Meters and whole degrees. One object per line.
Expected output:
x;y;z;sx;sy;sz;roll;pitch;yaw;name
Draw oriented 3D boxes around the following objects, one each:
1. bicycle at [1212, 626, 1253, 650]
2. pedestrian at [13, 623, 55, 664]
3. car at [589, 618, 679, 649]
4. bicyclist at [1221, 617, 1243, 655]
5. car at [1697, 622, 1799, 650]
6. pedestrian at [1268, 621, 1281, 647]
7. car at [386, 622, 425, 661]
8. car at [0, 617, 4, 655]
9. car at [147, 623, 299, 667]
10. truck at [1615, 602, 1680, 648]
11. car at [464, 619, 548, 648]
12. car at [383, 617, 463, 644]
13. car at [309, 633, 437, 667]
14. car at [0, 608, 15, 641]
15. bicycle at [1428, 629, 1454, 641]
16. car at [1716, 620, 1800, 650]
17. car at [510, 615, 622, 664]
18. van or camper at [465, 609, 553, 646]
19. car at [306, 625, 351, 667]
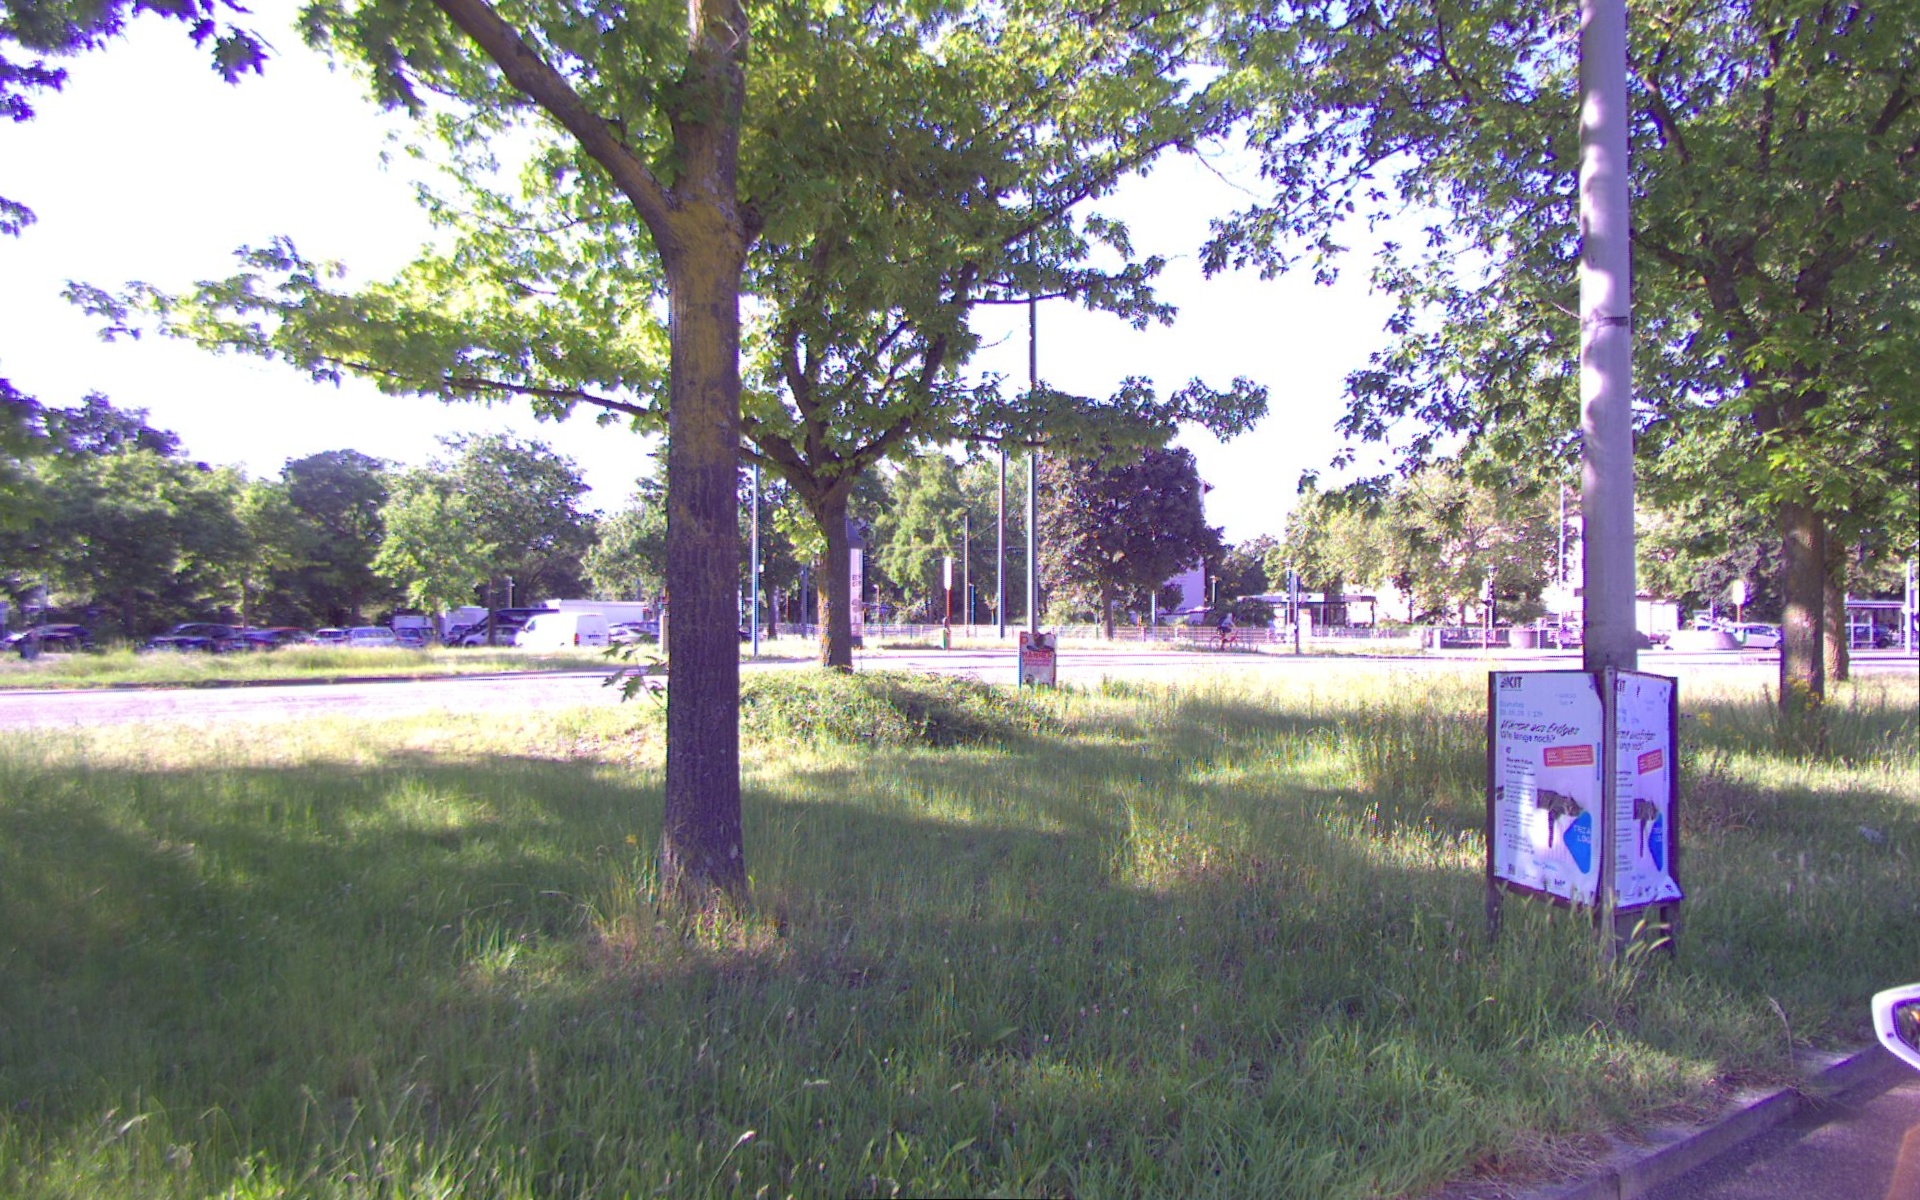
11.584;1.623;42.745;1.633;1.014;0.611;1;-1;-20;bicycle
-32.769;1.531;35.556;0.863;1.437;0.994;1;-1;-30;pedestrian
-15.009;1.512;46.171;3.934;1.299;1.994;0;-1;35;car
11.572;1.529;42.745;0.666;1.551;0.611;-1;1;-20;bicyclist
47.965;2.171;61.218;4.457;1.565;1.873;0;2;14;car
22.807;2.482;72.741;0.714;1.853;0.559;1;-1;-9;pedestrian
-27.182;2.003;49.188;1.635;1.628;3.854;1;2;-30;car
-39.303;1.350;37.730;1.964;1.483;4.548;2;0;30;car
-26.051;1.578;35.639;3.929;1.467;1.819;0;-1;-11;car
46.779;1.678;68.484;1.959;3.035;4.831;0;0;13;truck
-25.115;1.835;55.760;3.932;1.493;1.963;0;2;-14;car
-31.532;1.765;59.145;3.943;1.530;1.989;1;-1;-23;car
-21.869;1.834;37.465;3.962;1.143;1.803;1;-1;-37;car
-55.186;1.329;55.502;4.097;1.824;1.980;1;-1;-36;car
34.589;2.511;72.277;1.652;0.850;0.548;0;-1;18;bicycle
50.371;2.173;63.430;3.922;1.741;1.763;0;2;-3;car
-17.232;1.675;43.834;4.917;2.040;2.232;0;-1;35;car
-25.993;1.581;58.075;4.326;2.124;1.995;0;-1;-14;van or camper
-29.598;2.108;47.131;1.635;1.628;3.854;1;2;-30;car
